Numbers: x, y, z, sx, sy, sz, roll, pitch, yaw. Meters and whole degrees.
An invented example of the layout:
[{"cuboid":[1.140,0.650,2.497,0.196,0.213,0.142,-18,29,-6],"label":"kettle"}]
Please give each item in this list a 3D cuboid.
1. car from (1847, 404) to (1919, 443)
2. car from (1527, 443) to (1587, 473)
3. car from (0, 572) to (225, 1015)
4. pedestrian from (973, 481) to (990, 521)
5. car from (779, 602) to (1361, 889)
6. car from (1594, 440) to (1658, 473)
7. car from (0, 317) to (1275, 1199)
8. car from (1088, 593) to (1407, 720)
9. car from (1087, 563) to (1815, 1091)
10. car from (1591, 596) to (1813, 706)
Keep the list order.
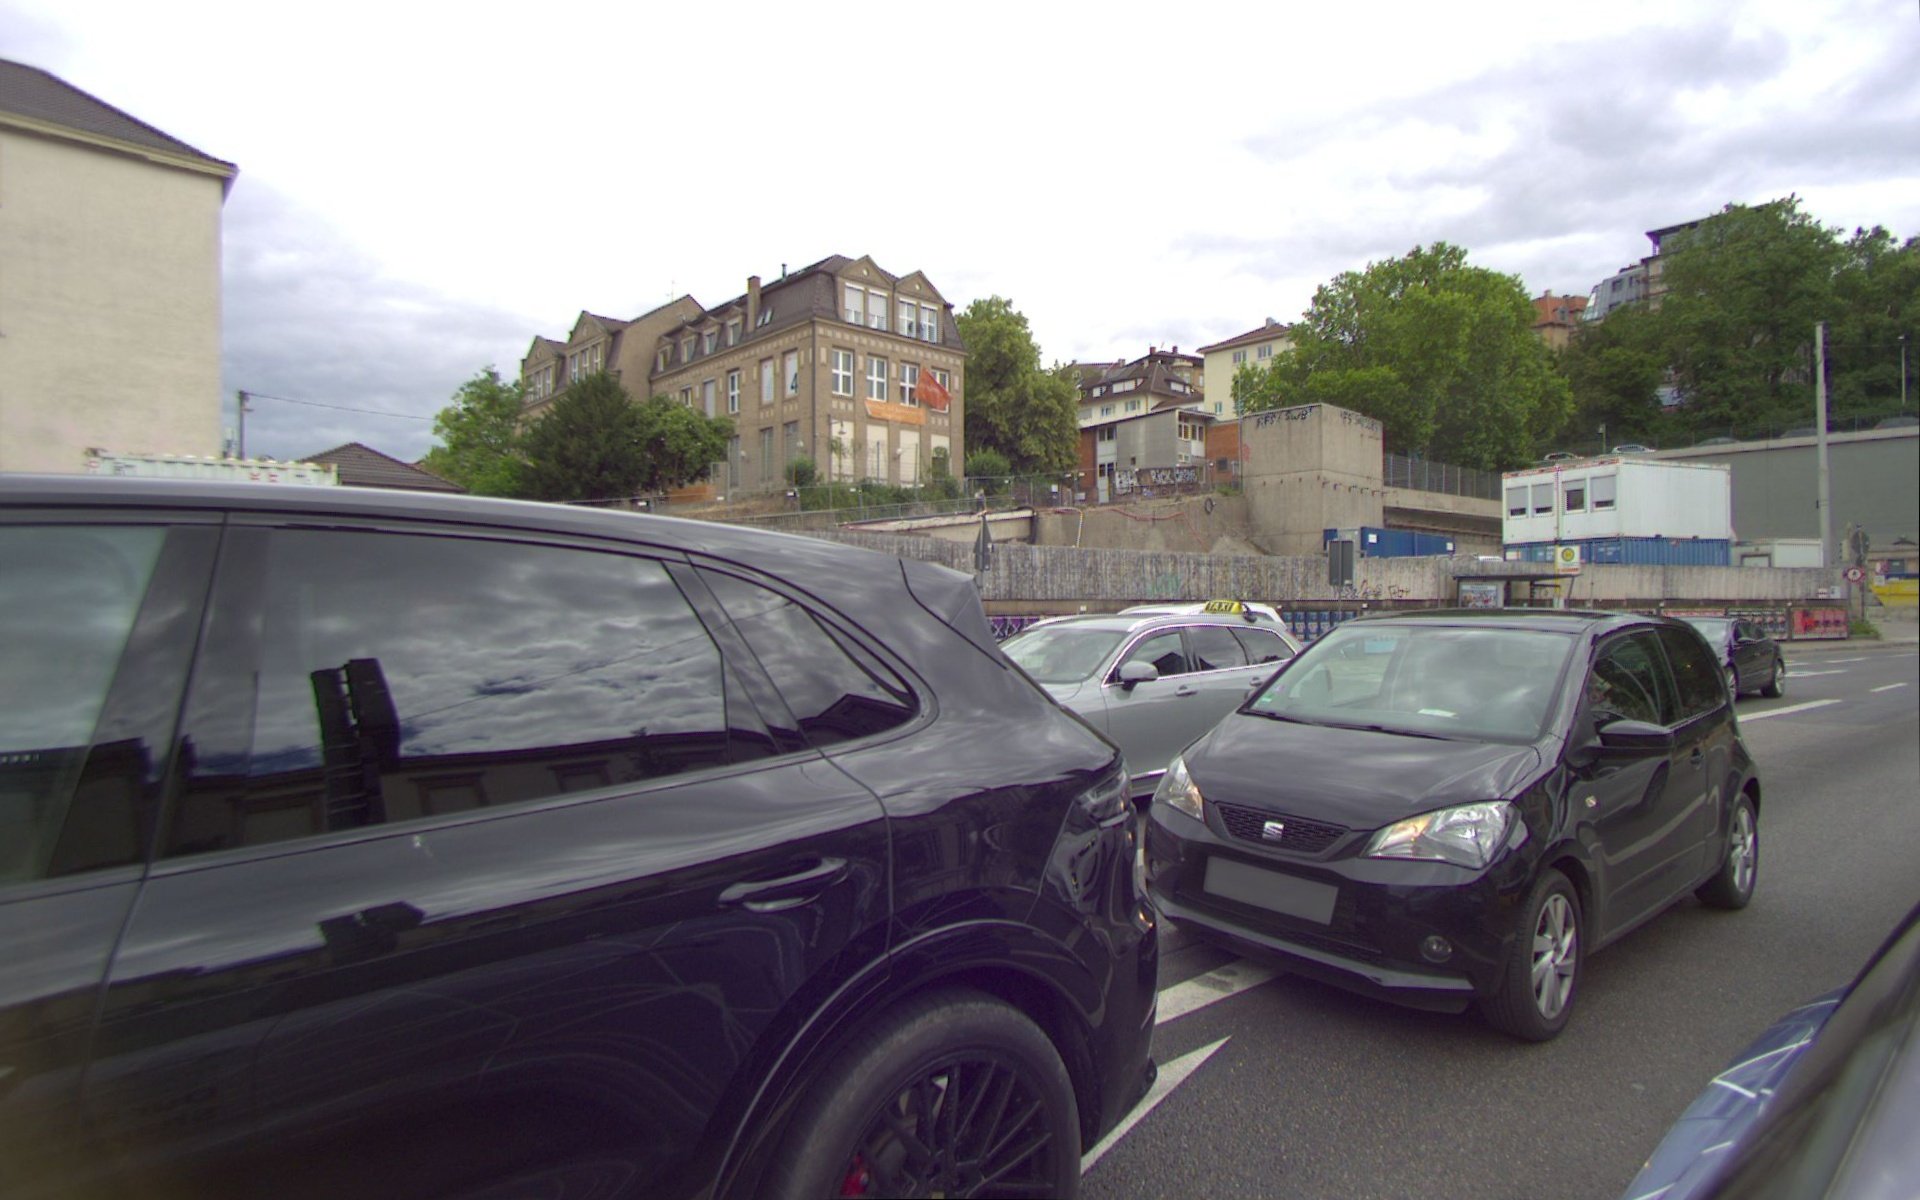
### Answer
[{"cuboid":[64.155,-12.206,70.037,1.966,2.039,3.991,0,1,-43],"label":"car"},{"cuboid":[50.251,-11.931,85.218,3.988,2.039,1.968,0,1,45],"label":"car"},{"cuboid":[-4.888,0.690,3.415,3.812,1.563,1.667,0,-1,-40],"label":"car"},{"cuboid":[1.133,-5.178,53.115,0.656,2.039,0.644,0,0,-45],"label":"pedestrian"},{"cuboid":[1.059,0.832,7.901,4.570,1.591,1.826,0,0,-39],"label":"car"},{"cuboid":[53.566,-11.523,81.429,3.988,2.039,1.968,0,1,45],"label":"car"},{"cuboid":[-1.627,0.581,1.696,4.552,1.707,1.959,0,-1,-40],"label":"car"},{"cuboid":[4.177,0.703,14.544,4.458,1.579,1.708,0,0,-28],"label":"car"},{"cuboid":[2.523,0.657,4.782,3.812,1.515,1.667,0,-1,-40],"label":"car"},{"cuboid":[12.370,0.743,16.776,4.466,1.579,1.705,0,0,-37],"label":"car"}]
